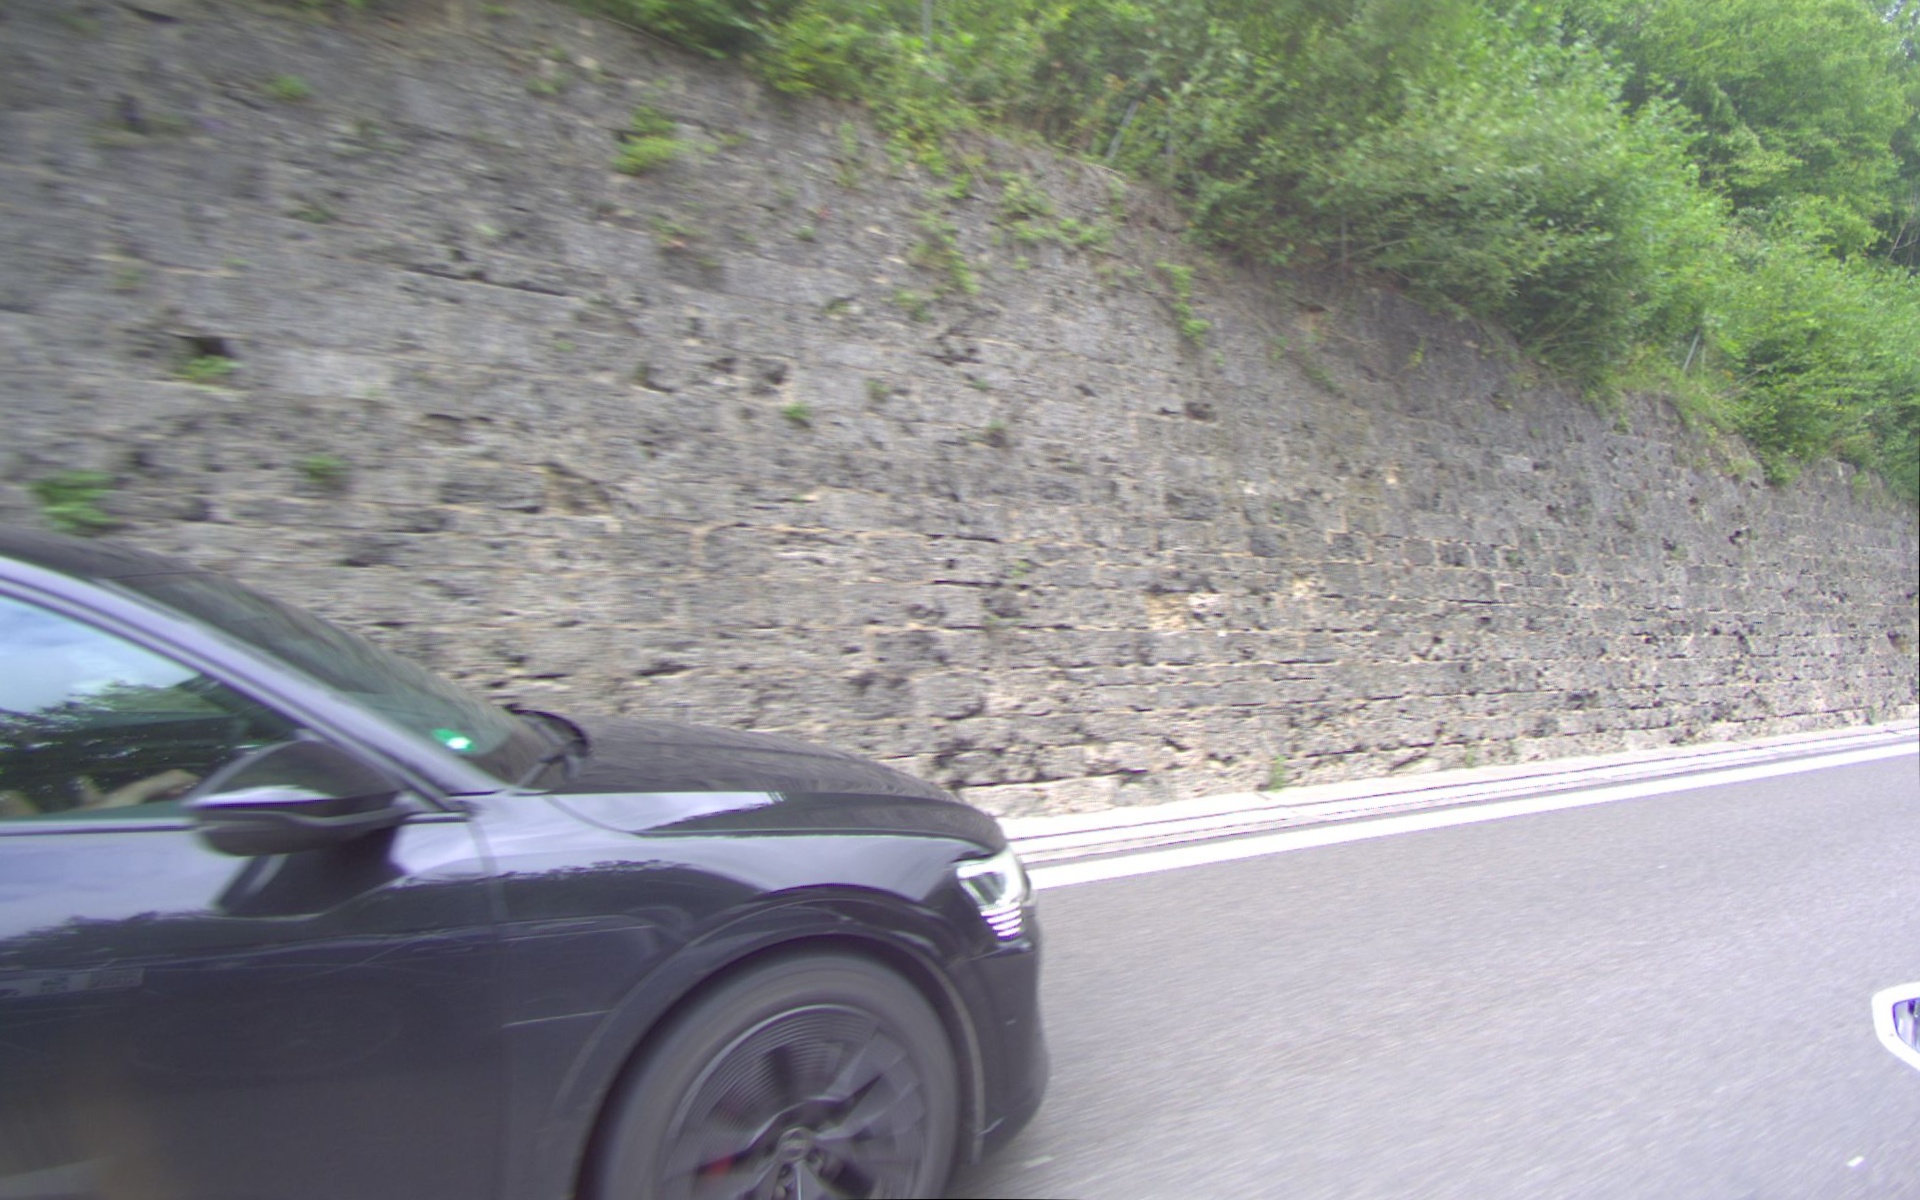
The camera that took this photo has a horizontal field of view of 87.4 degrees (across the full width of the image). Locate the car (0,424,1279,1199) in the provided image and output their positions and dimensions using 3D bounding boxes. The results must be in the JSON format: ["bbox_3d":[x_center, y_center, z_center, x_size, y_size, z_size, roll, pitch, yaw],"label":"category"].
[{"bbox_3d":[-1.838,0.601,2.135,4.948,1.654,1.984,1,-1,-30],"label":"car"}]
